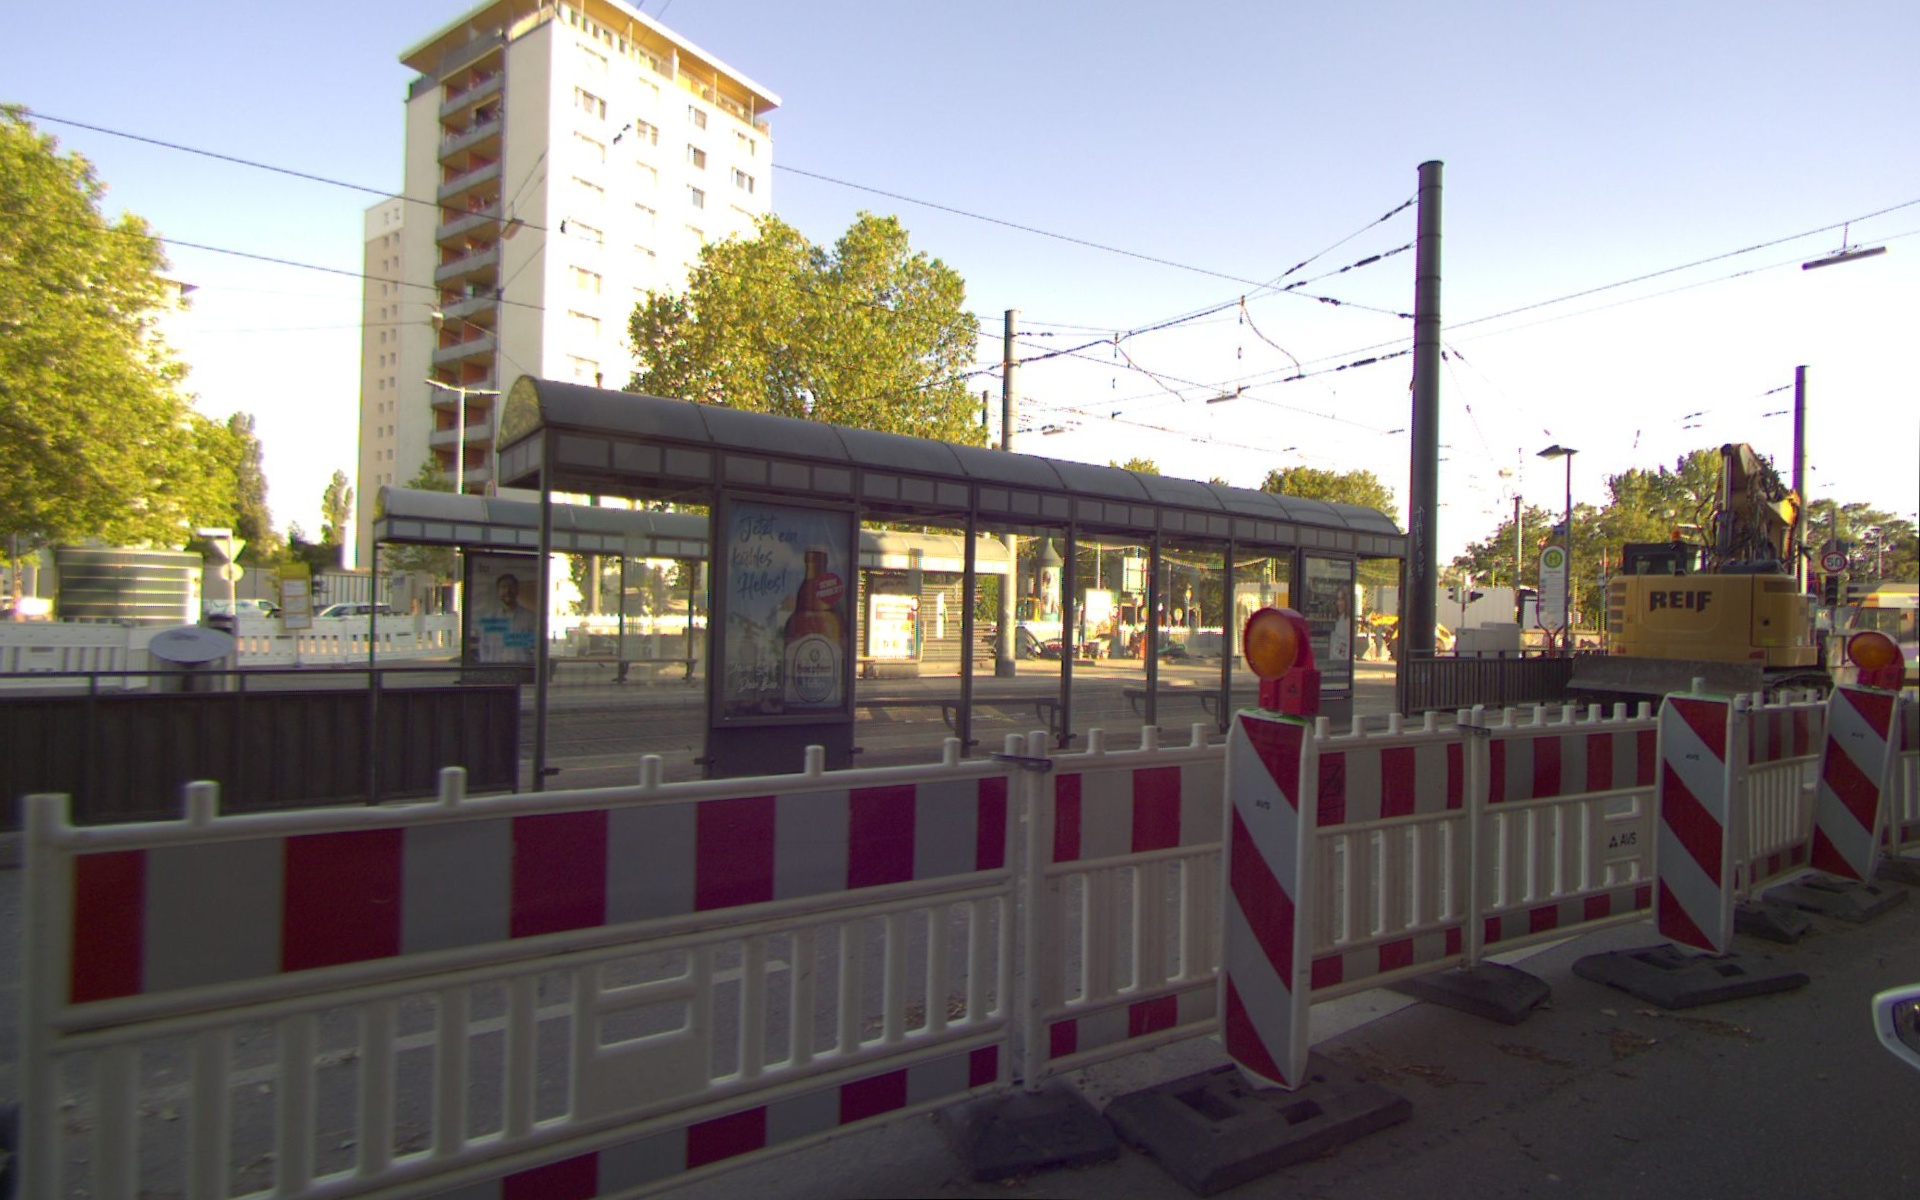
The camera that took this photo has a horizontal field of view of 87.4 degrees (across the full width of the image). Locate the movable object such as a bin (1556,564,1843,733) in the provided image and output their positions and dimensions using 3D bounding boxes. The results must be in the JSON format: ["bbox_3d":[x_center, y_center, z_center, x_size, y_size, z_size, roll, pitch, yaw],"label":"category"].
[{"bbox_3d":[12.242,0.722,16.529,4.860,2.348,2.622,2,0,-39],"label":"movable object such as a bin"}]

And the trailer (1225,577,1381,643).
[{"bbox_3d":[21.551,0.538,63.752,2.872,3.848,9.139,2,0,-40],"label":"trailer"}]

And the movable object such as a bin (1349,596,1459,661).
[{"bbox_3d":[19.272,1.251,43.592,4.547,2.674,2.140,2,-1,-31],"label":"movable object such as a bin"}]

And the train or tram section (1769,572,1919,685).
[{"bbox_3d":[35.082,1.134,33.627,13.126,3.579,2.860,2,-1,4],"label":"train or tram section"}]

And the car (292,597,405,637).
[{"bbox_3d":[-33.129,0.944,54.536,1.963,2.040,4.907,1,-1,28],"label":"car"}]

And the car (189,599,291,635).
[{"bbox_3d":[-42.219,1.004,59.021,1.963,2.040,4.438,1,-1,28],"label":"car"}]

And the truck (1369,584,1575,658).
[{"bbox_3d":[29.249,1.130,57.840,10.244,3.840,2.896,1,-1,29],"label":"truck"}]
